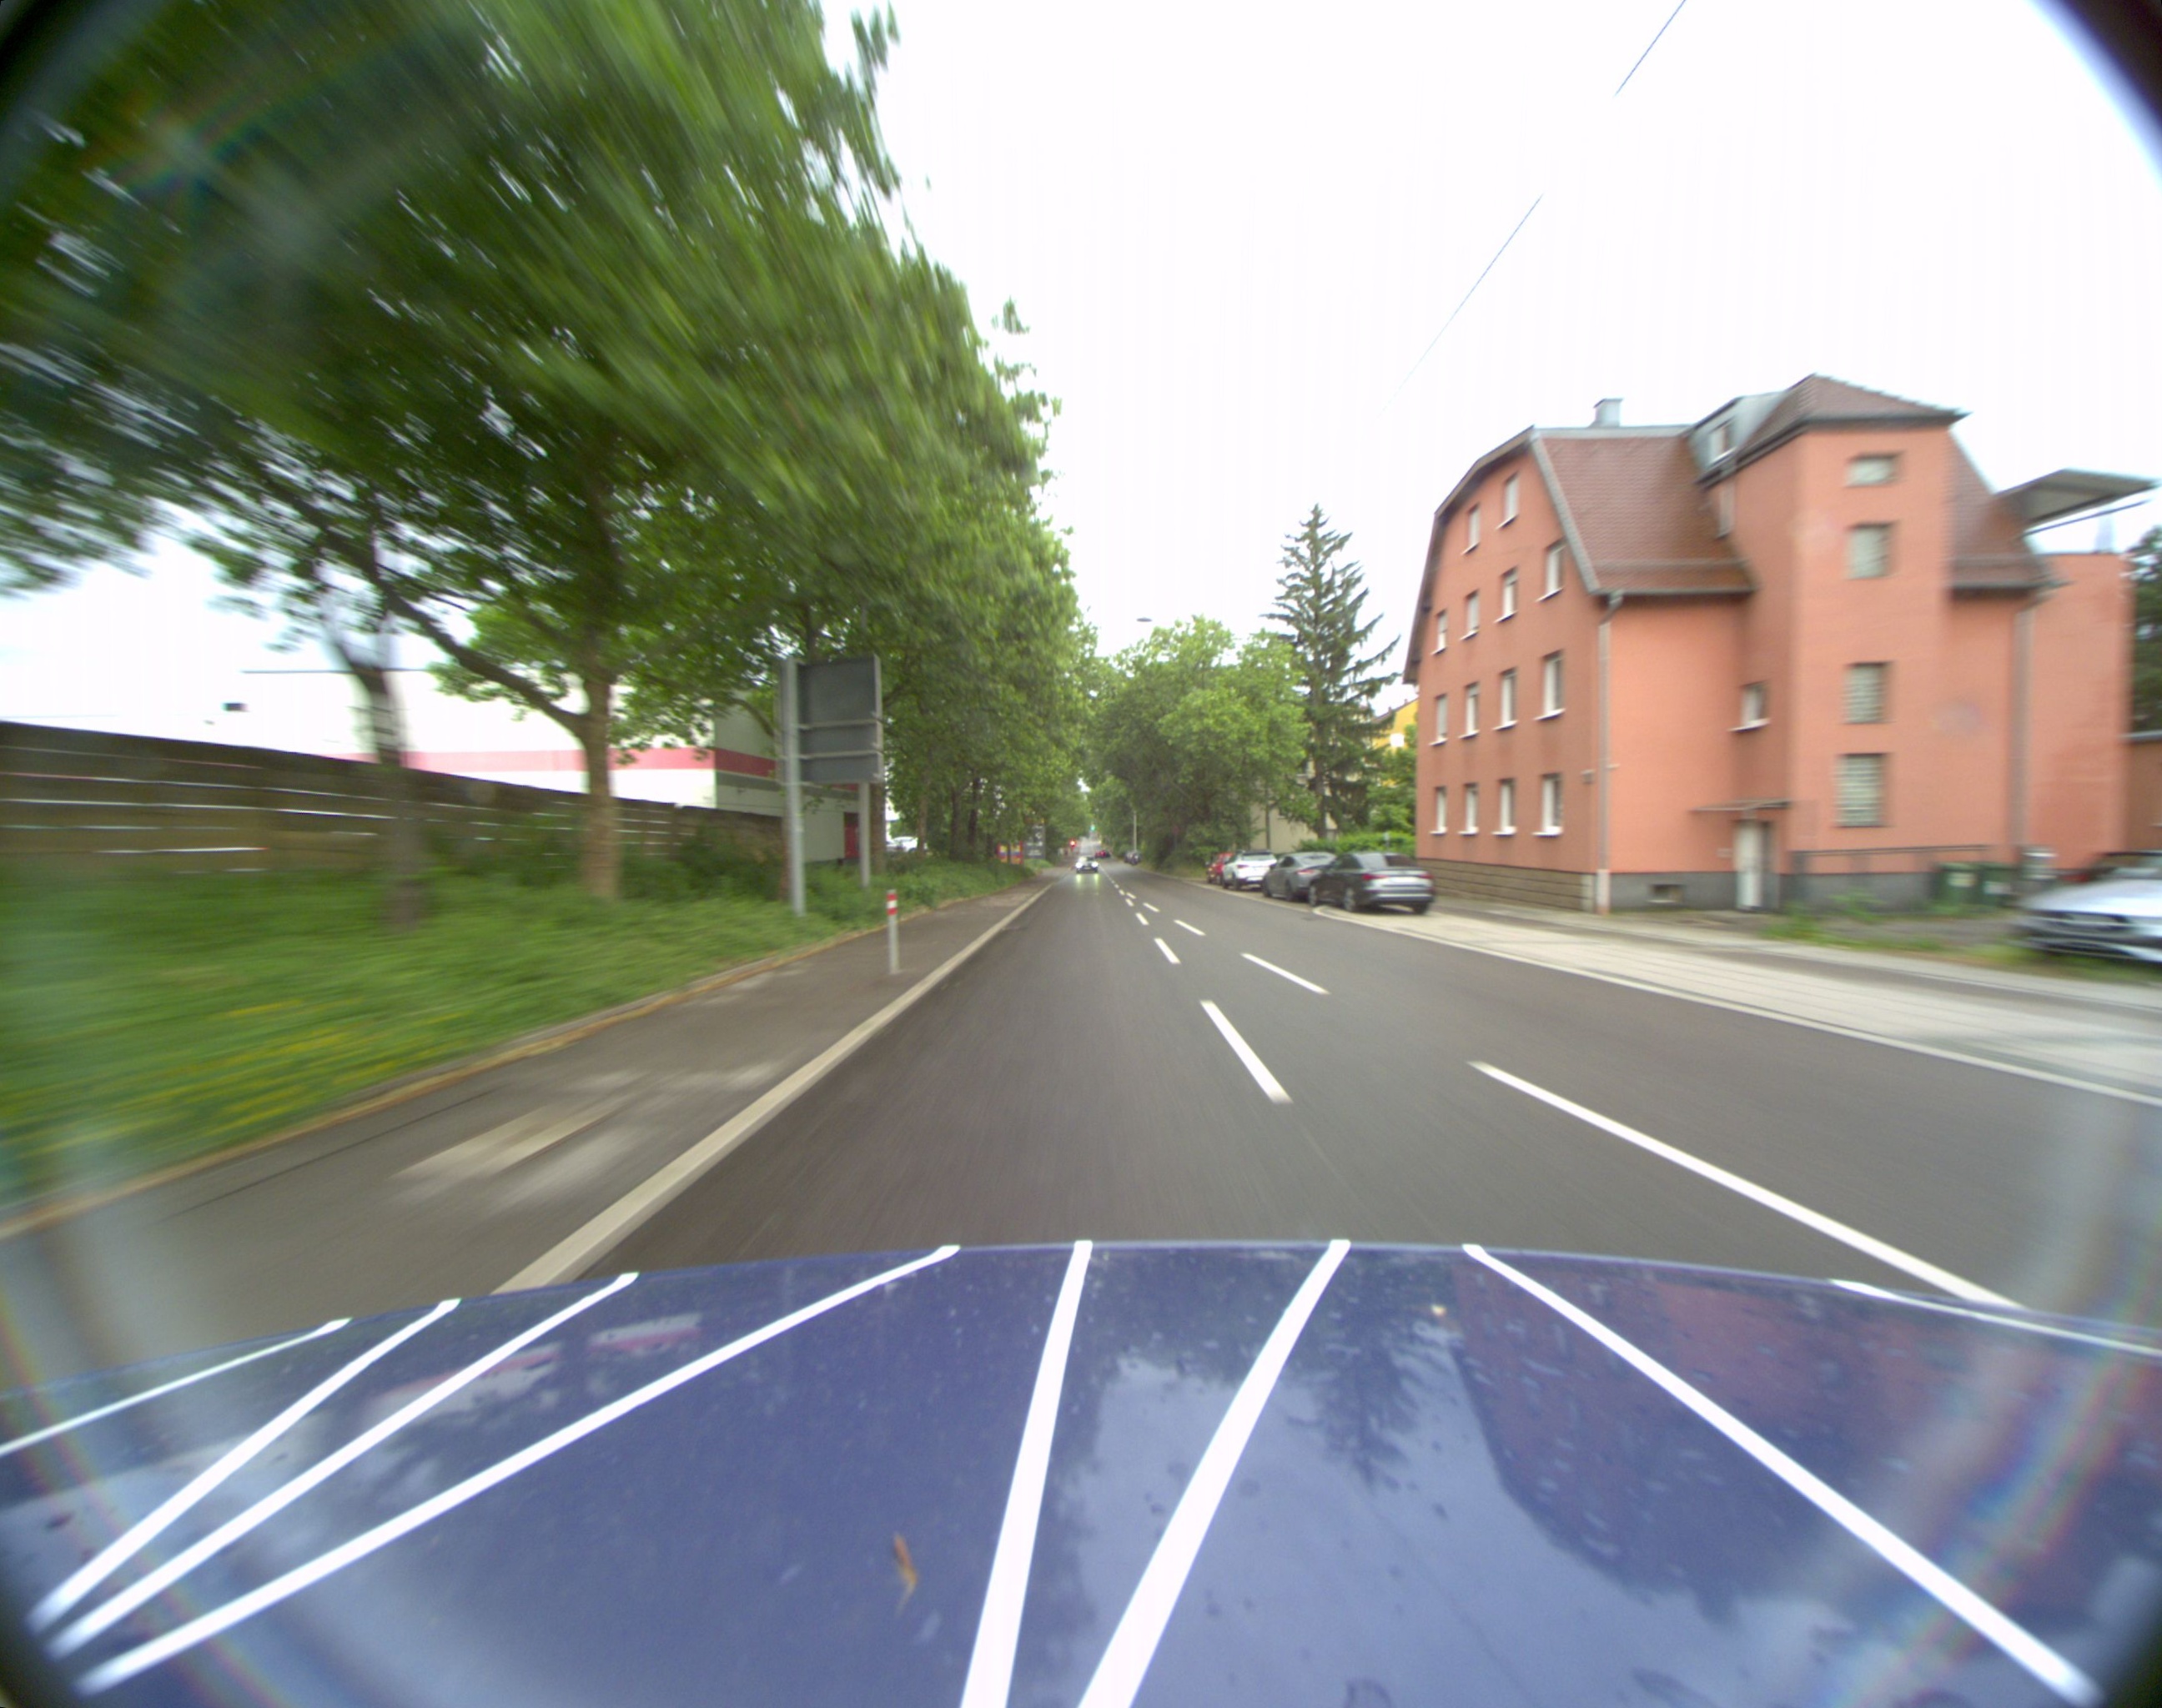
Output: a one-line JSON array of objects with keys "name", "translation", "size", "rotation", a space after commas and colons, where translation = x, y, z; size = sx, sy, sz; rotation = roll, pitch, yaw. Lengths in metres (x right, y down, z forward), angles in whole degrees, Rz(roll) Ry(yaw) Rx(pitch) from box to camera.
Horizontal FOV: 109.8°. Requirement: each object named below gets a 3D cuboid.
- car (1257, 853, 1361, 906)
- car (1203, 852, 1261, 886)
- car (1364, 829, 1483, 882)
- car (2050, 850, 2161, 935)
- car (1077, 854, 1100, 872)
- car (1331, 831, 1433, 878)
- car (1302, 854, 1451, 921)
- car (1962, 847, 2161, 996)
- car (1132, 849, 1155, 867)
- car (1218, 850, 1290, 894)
[{"name": "car", "translation": [6.785, 0.699, 23.062], "size": [1.816, 1.443, 4.198], "rotation": [-1, 0, -1]}, {"name": "car", "translation": [6.887, 0.647, 35.029], "size": [1.816, 1.425, 4.198], "rotation": [-1, 0, 0]}, {"name": "car", "translation": [14.173, 0.058, 31.633], "size": [3.997, 2.002, 2.000], "rotation": [-2, 1, -1]}, {"name": "car", "translation": [20.337, 0.638, 13.524], "size": [3.889, 1.425, 1.803], "rotation": [-1, 0, 0]}, {"name": "car", "translation": [0.644, 0.760, 65.171], "size": [1.842, 1.403, 4.000], "rotation": [-1, 0, 1]}, {"name": "car", "translation": [13.955, 0.030, 35.451], "size": [3.994, 2.002, 2.001], "rotation": [-2, 1, 8]}, {"name": "car", "translation": [6.891, 0.711, 18.244], "size": [1.789, 1.402, 4.197], "rotation": [1, 0, -2]}, {"name": "car", "translation": [13.313, 0.647, 8.612], "size": [4.171, 1.425, 2.000], "rotation": [-3, 0, 3]}, {"name": "car", "translation": [5.911, 0.370, 71.804], "size": [1.842, 1.631, 4.194], "rotation": [-1, 0, 1]}, {"name": "car", "translation": [6.595, 0.632, 29.439], "size": [1.816, 1.537, 4.198], "rotation": [2, 0, 0]}]
